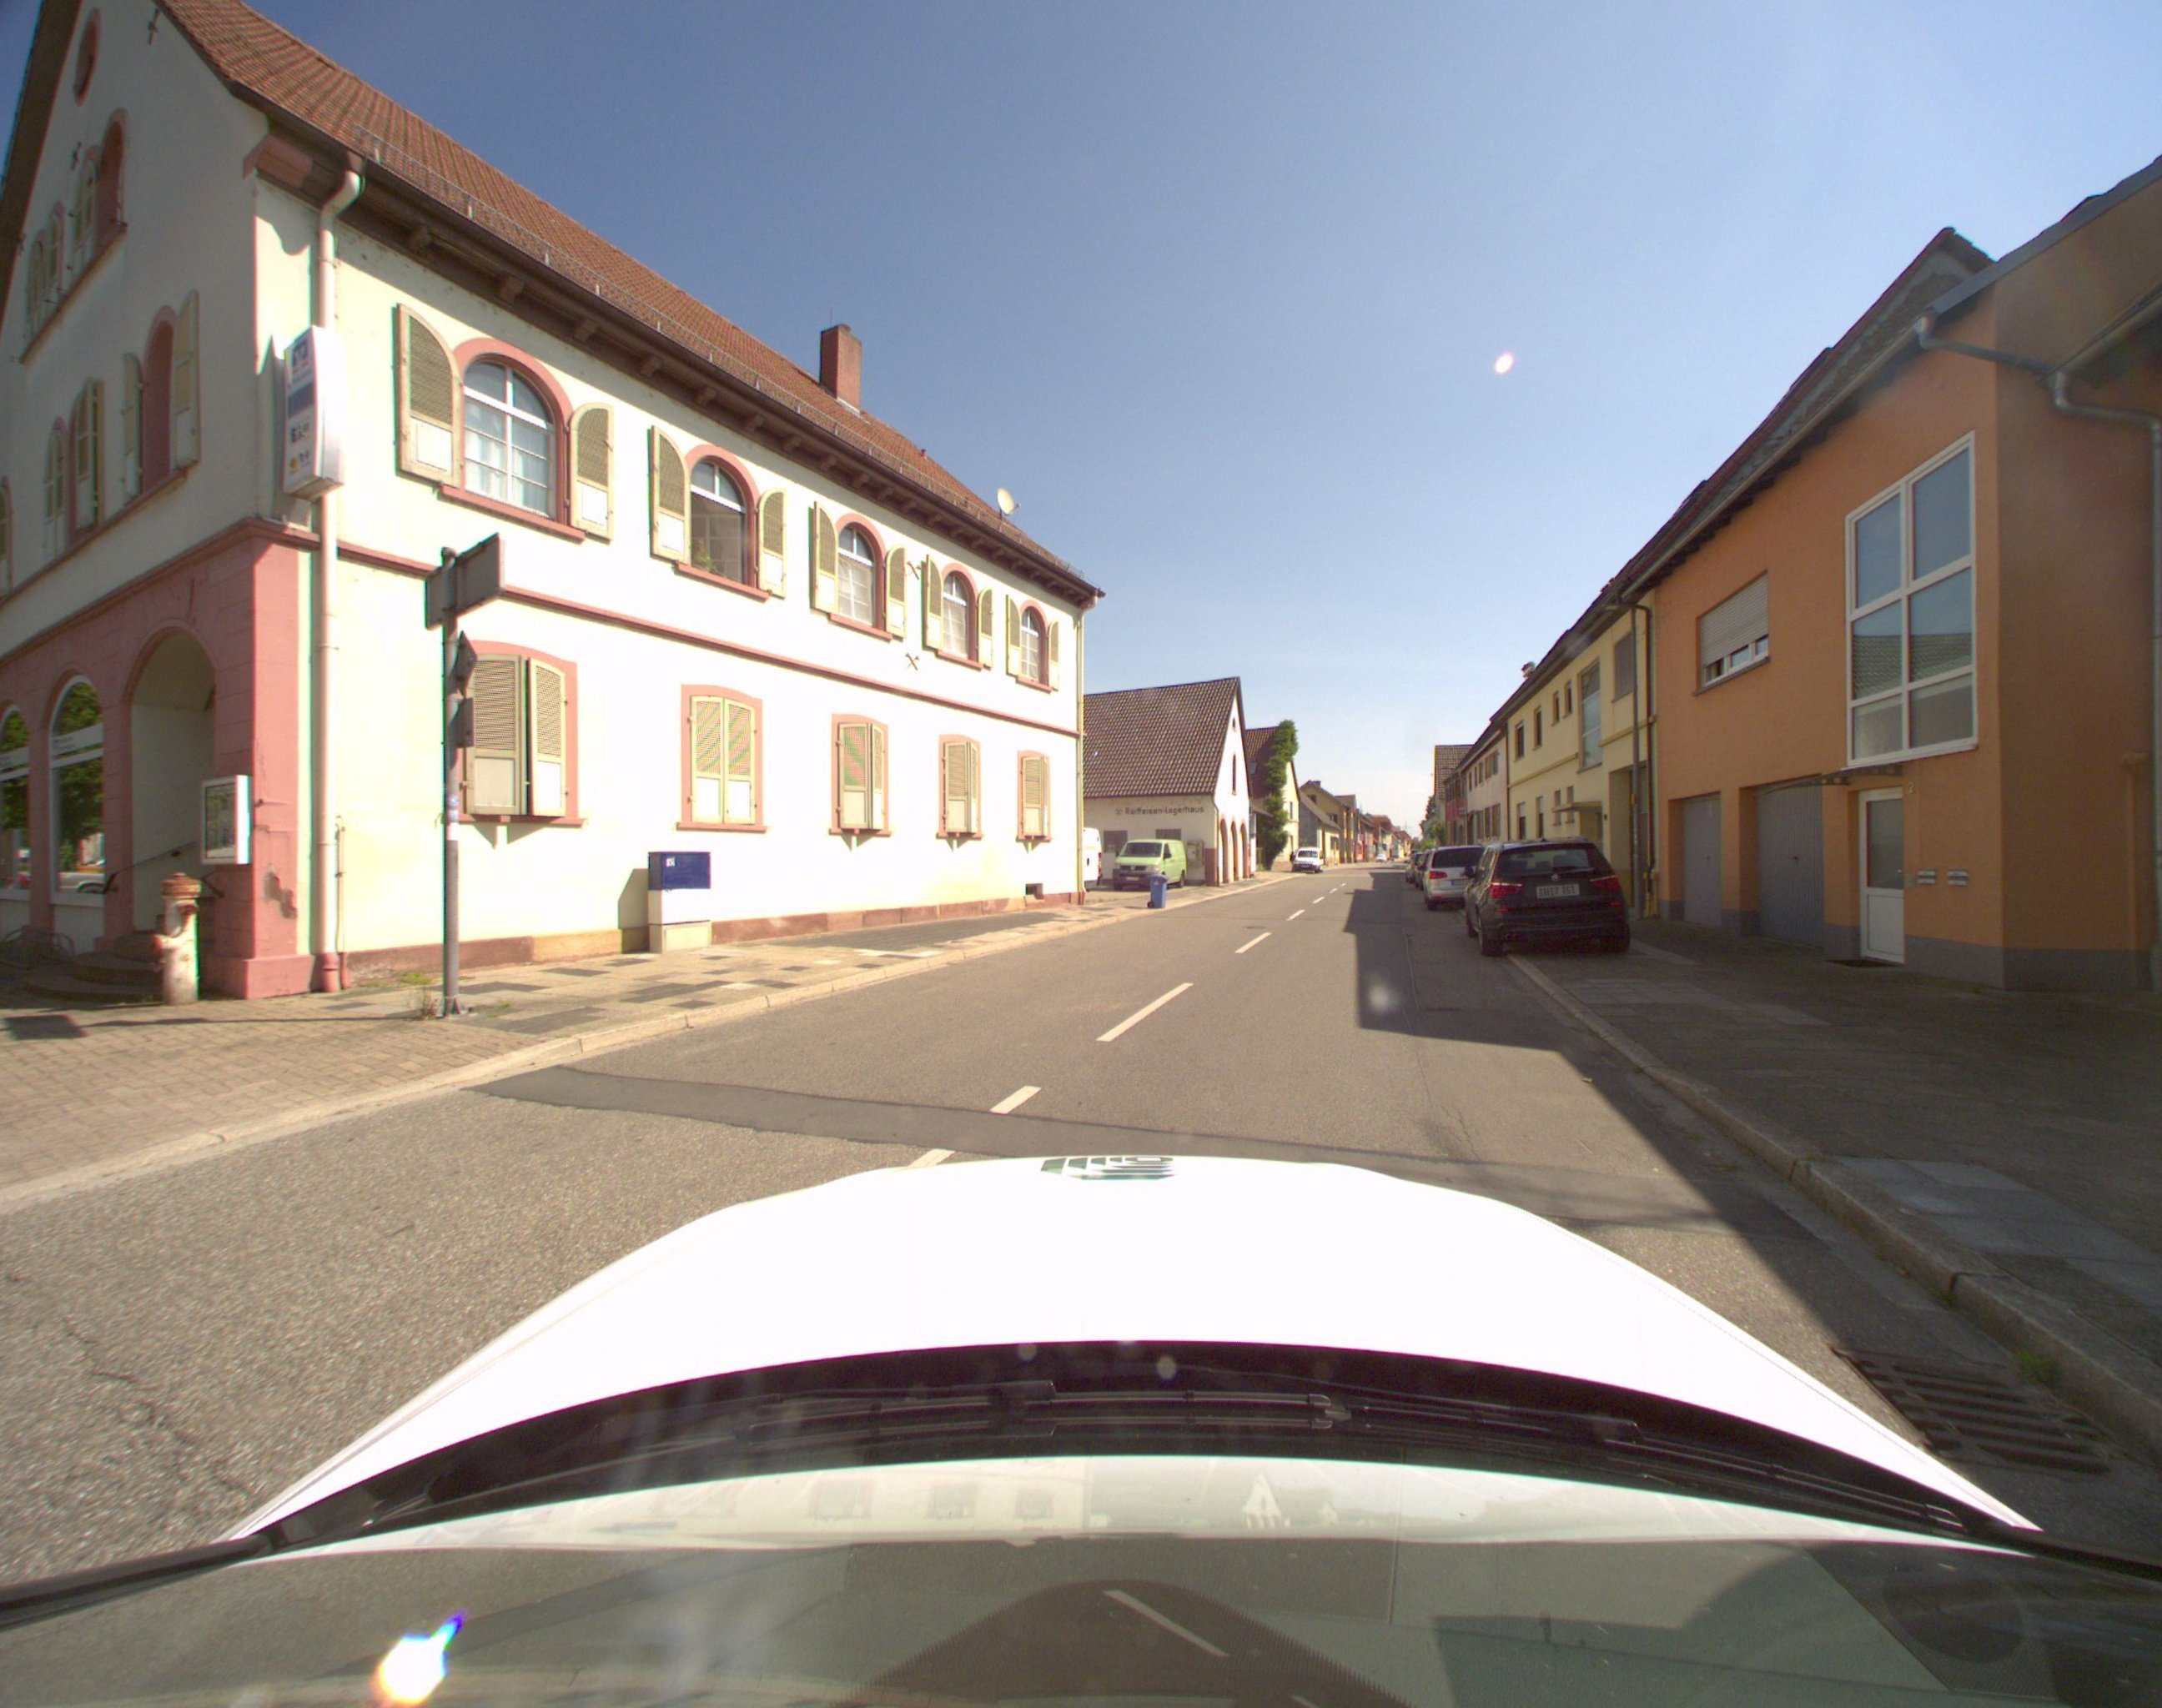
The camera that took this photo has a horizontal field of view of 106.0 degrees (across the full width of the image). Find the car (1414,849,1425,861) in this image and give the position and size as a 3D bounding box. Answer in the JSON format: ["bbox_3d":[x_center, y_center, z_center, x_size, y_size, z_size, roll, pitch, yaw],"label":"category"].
[{"bbox_3d":[75.275,0.223,181.182,2.000,2.568,4.021,-1,-1,22],"label":"car"}]

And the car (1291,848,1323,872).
[{"bbox_3d":[16.258,0.385,58.455,1.840,1.647,4.452,-1,0,20],"label":"car"}]

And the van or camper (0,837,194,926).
[{"bbox_3d":[-24.636,0.608,19.788,1.974,2.013,4.025,0,0,38],"label":"van or camper"}]

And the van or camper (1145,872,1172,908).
[{"bbox_3d":[2.149,0.986,22.563,0.584,0.951,0.603,0,0,26],"label":"van or camper"}]

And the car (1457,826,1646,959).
[{"bbox_3d":[7.325,0.522,13.227,1.828,1.702,5.207,-3,-1,21],"label":"car"}]

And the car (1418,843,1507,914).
[{"bbox_3d":[10.238,0.595,22.131,1.882,1.728,4.271,0,0,21],"label":"car"}]

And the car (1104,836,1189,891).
[{"bbox_3d":[2.671,0.340,32.018,1.976,1.964,4.694,-1,0,22],"label":"car"}]

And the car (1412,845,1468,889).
[{"bbox_3d":[14.033,0.486,32.029,1.685,1.584,4.047,-2,-1,20],"label":"car"}]

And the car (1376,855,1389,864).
[{"bbox_3d":[53.828,0.962,145.293,1.976,1.442,4.022,-1,0,22],"label":"car"}]

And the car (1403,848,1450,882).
[{"bbox_3d":[16.236,0.510,38.430,1.685,1.469,4.431,-2,-1,19],"label":"car"}]

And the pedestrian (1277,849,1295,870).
[{"bbox_3d":[14.939,0.378,59.323,1.127,1.552,1.022,0,0,19],"label":"pedestrian"}]

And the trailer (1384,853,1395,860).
[{"bbox_3d":[60.959,0.471,161.065,1.976,1.090,4.022,-1,2,21],"label":"trailer"}]

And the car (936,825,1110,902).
[{"bbox_3d":[-1.870,0.258,25.499,5.126,2.196,2.136,0,0,31],"label":"car"}]
